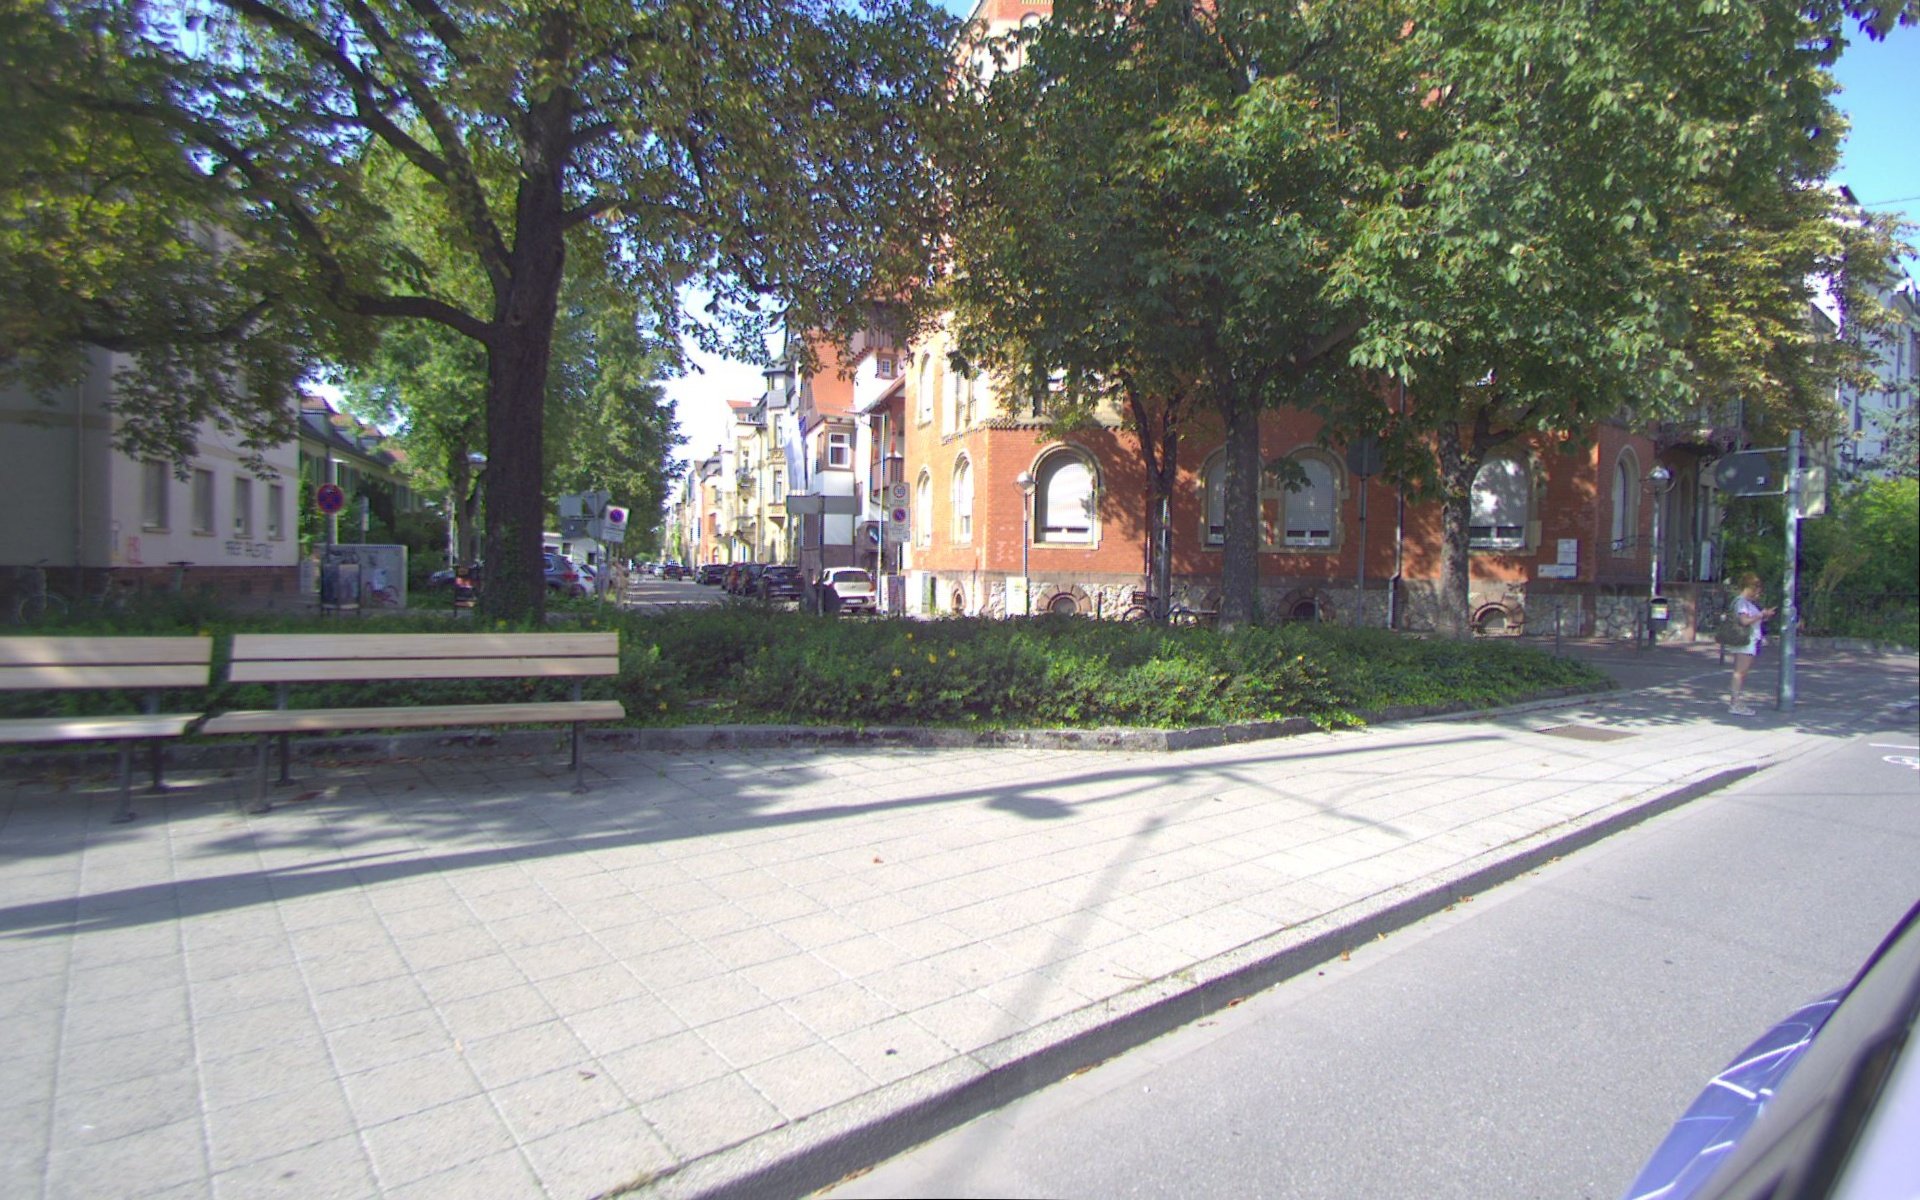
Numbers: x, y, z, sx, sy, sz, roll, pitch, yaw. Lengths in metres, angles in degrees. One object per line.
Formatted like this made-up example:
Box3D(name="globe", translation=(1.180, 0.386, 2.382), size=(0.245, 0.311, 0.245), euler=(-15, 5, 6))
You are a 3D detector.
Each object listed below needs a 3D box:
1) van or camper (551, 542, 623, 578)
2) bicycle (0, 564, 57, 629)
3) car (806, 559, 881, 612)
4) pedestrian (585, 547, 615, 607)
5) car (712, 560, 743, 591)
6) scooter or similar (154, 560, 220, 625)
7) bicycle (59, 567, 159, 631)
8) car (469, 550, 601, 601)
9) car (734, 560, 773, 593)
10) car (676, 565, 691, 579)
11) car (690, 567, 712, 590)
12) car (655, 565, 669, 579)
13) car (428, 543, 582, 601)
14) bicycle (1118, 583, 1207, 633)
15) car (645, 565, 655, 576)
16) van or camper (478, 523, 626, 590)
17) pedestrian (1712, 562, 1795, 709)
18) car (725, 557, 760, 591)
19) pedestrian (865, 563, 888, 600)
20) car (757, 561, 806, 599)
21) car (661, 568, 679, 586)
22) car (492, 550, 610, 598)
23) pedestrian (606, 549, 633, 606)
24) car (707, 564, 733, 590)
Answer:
Box3D(name="van or camper", translation=(-34.956, -3.732, 95.019), size=(6.197, 2.919, 2.004), euler=(3, -2, -19))
Box3D(name="bicycle", translation=(-16.322, -0.092, 17.674), size=(1.862, 1.071, 0.599), euler=(2, 2, 41))
Box3D(name="car", translation=(-3.816, -0.492, 32.568), size=(1.588, 1.586, 4.010), euler=(0, 2, -18))
Box3D(name="pedestrian", translation=(-10.896, -0.686, 30.636), size=(0.645, 1.786, 0.605), euler=(1, 1, 12))
Box3D(name="car", translation=(-15.303, -1.646, 66.490), size=(1.588, 1.946, 4.010), euler=(0, 2, -18))
Box3D(name="scooter or similar", translation=(-14.335, -0.149, 18.791), size=(0.433, 1.172, 1.114), euler=(1, 2, -5))
Box3D(name="bicycle", translation=(-15.098, -0.050, 18.003), size=(0.596, 1.071, 1.844), euler=(0, 2, -13))
Box3D(name="car", translation=(-14.991, -0.863, 35.769), size=(4.107, 1.480, 1.666), euler=(4, 0, -25))
Box3D(name="car", translation=(-11.223, -1.305, 54.927), size=(1.588, 1.722, 4.010), euler=(0, 2, -18))
Box3D(name="car", translation=(-36.198, -3.642, 132.495), size=(1.588, 1.730, 4.010), euler=(0, 2, -18))
Box3D(name="car", translation=(-23.022, -1.930, 89.786), size=(1.588, 1.946, 4.010), euler=(0, 2, -18))
Box3D(name="car", translation=(-37.611, -3.549, 127.675), size=(1.588, 1.730, 4.010), euler=(0, 2, -18))
Box3D(name="car", translation=(-13.664, -0.844, 30.609), size=(4.106, 1.658, 1.667), euler=(0, 2, -19))
Box3D(name="bicycle", translation=(4.394, 0.172, 22.042), size=(1.805, 1.072, 0.608), euler=(0, -1, 2))
Box3D(name="car", translation=(-54.556, -5.207, 178.146), size=(1.588, 1.730, 4.010), euler=(0, 2, -18))
Box3D(name="van or camper", translation=(-20.921, -2.187, 52.167), size=(6.796, 2.919, 2.004), euler=(3, -2, -20))
Box3D(name="pedestrian", translation=(9.741, 0.412, 12.424), size=(0.648, 1.739, 0.545), euler=(0, 2, -27))
Box3D(name="car", translation=(-12.901, -1.567, 59.803), size=(1.588, 1.946, 4.010), euler=(0, 2, -18))
Box3D(name="pedestrian", translation=(-3.046, -0.684, 36.944), size=(0.703, 1.341, 0.680), euler=(0, 2, -18))
Box3D(name="car", translation=(-7.988, -0.919, 45.003), size=(1.588, 1.586, 4.010), euler=(0, 2, -18))
Box3D(name="car", translation=(-28.579, -2.297, 99.697), size=(1.588, 1.730, 4.010), euler=(0, 2, -18))
Box3D(name="car", translation=(-15.355, -0.973, 38.021), size=(3.938, 1.480, 1.666), euler=(4, 0, -25))
Box3D(name="pedestrian", translation=(-10.746, -0.715, 31.905), size=(0.581, 1.786, 0.605), euler=(1, 1, 10))
Box3D(name="car", translation=(-18.766, -1.807, 79.099), size=(1.588, 1.946, 4.010), euler=(0, 2, -18))
